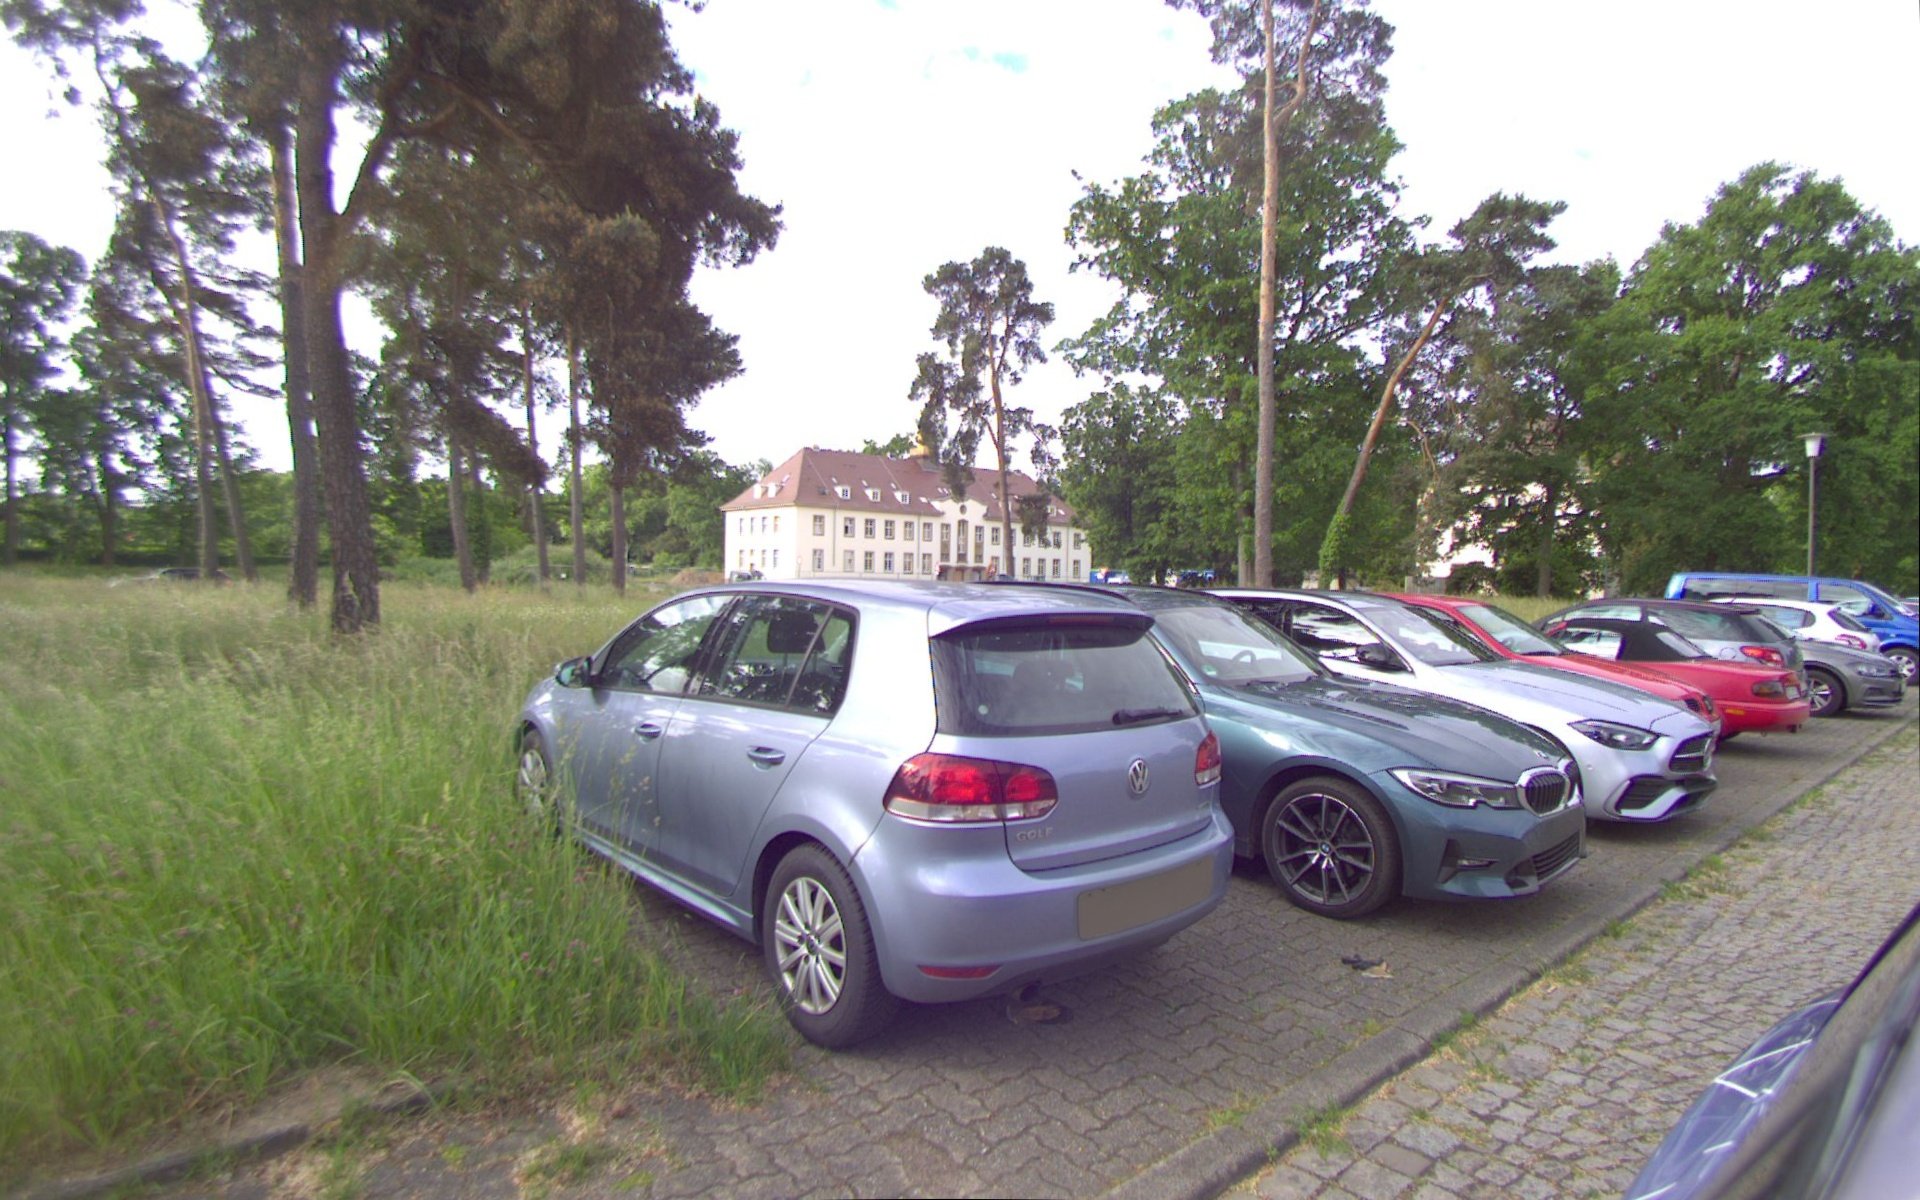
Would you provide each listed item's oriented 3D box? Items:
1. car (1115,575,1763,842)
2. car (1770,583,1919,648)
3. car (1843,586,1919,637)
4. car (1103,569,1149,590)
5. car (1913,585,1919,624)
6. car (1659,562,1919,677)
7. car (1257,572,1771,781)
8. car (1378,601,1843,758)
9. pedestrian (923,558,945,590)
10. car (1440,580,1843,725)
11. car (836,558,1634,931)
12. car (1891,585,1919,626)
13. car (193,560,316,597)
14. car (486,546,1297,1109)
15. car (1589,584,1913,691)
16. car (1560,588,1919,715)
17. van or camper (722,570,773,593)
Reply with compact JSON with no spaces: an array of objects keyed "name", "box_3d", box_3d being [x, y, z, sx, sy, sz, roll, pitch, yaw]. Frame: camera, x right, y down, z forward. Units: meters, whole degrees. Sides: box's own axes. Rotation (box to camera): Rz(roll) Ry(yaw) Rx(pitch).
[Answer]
[{"name":"car","box_3d":[3.398,0.570,7.961,1.764,1.463,4.268,0,2,-38]},{"name":"car","box_3d":[23.415,0.372,25.809,1.835,1.523,3.998,0,2,-38]},{"name":"car","box_3d":[31.064,0.385,32.426,1.967,1.589,3.991,0,2,-43]},{"name":"car","box_3d":[17.287,-2.122,105.256,4.753,2.039,2.163,0,2,-43]},{"name":"car","box_3d":[42.147,0.230,41.826,1.964,1.645,3.791,0,2,-39]},{"name":"car","box_3d":[16.922,0.304,19.896,1.963,2.038,4.844,0,2,-36]},{"name":"car","box_3d":[5.049,0.532,9.698,1.764,1.531,3.934,0,2,-38]},{"name":"car","box_3d":[6.899,0.710,11.078,1.764,1.250,3.932,0,2,-39]},{"name":"pedestrian","box_3d":[-1.810,-1.814,70.378,1.037,2.205,1.183,0,1,-41]},{"name":"car","box_3d":[8.542,0.527,12.974,1.764,1.494,3.932,0,2,-39]},{"name":"car","box_3d":[1.241,0.492,6.319,1.765,1.463,4.628,0,2,-40]},{"name":"car","box_3d":[38.711,0.257,39.073,1.964,1.589,3.791,0,2,-39]},{"name":"car","box_3d":[-31.953,-0.955,45.907,4.375,1.606,1.996,0,2,-43]},{"name":"car","box_3d":[-0.717,0.514,4.689,1.764,1.436,3.996,0,2,-39]},{"name":"car","box_3d":[12.910,0.521,16.713,1.765,1.467,3.932,0,2,-40]},{"name":"car","box_3d":[10.985,0.598,14.307,1.765,1.453,3.932,0,2,-40]},{"name":"van or camper","box_3d":[-22.284,-1.954,106.074,2.423,2.335,6.116,0,2,-43]}]
